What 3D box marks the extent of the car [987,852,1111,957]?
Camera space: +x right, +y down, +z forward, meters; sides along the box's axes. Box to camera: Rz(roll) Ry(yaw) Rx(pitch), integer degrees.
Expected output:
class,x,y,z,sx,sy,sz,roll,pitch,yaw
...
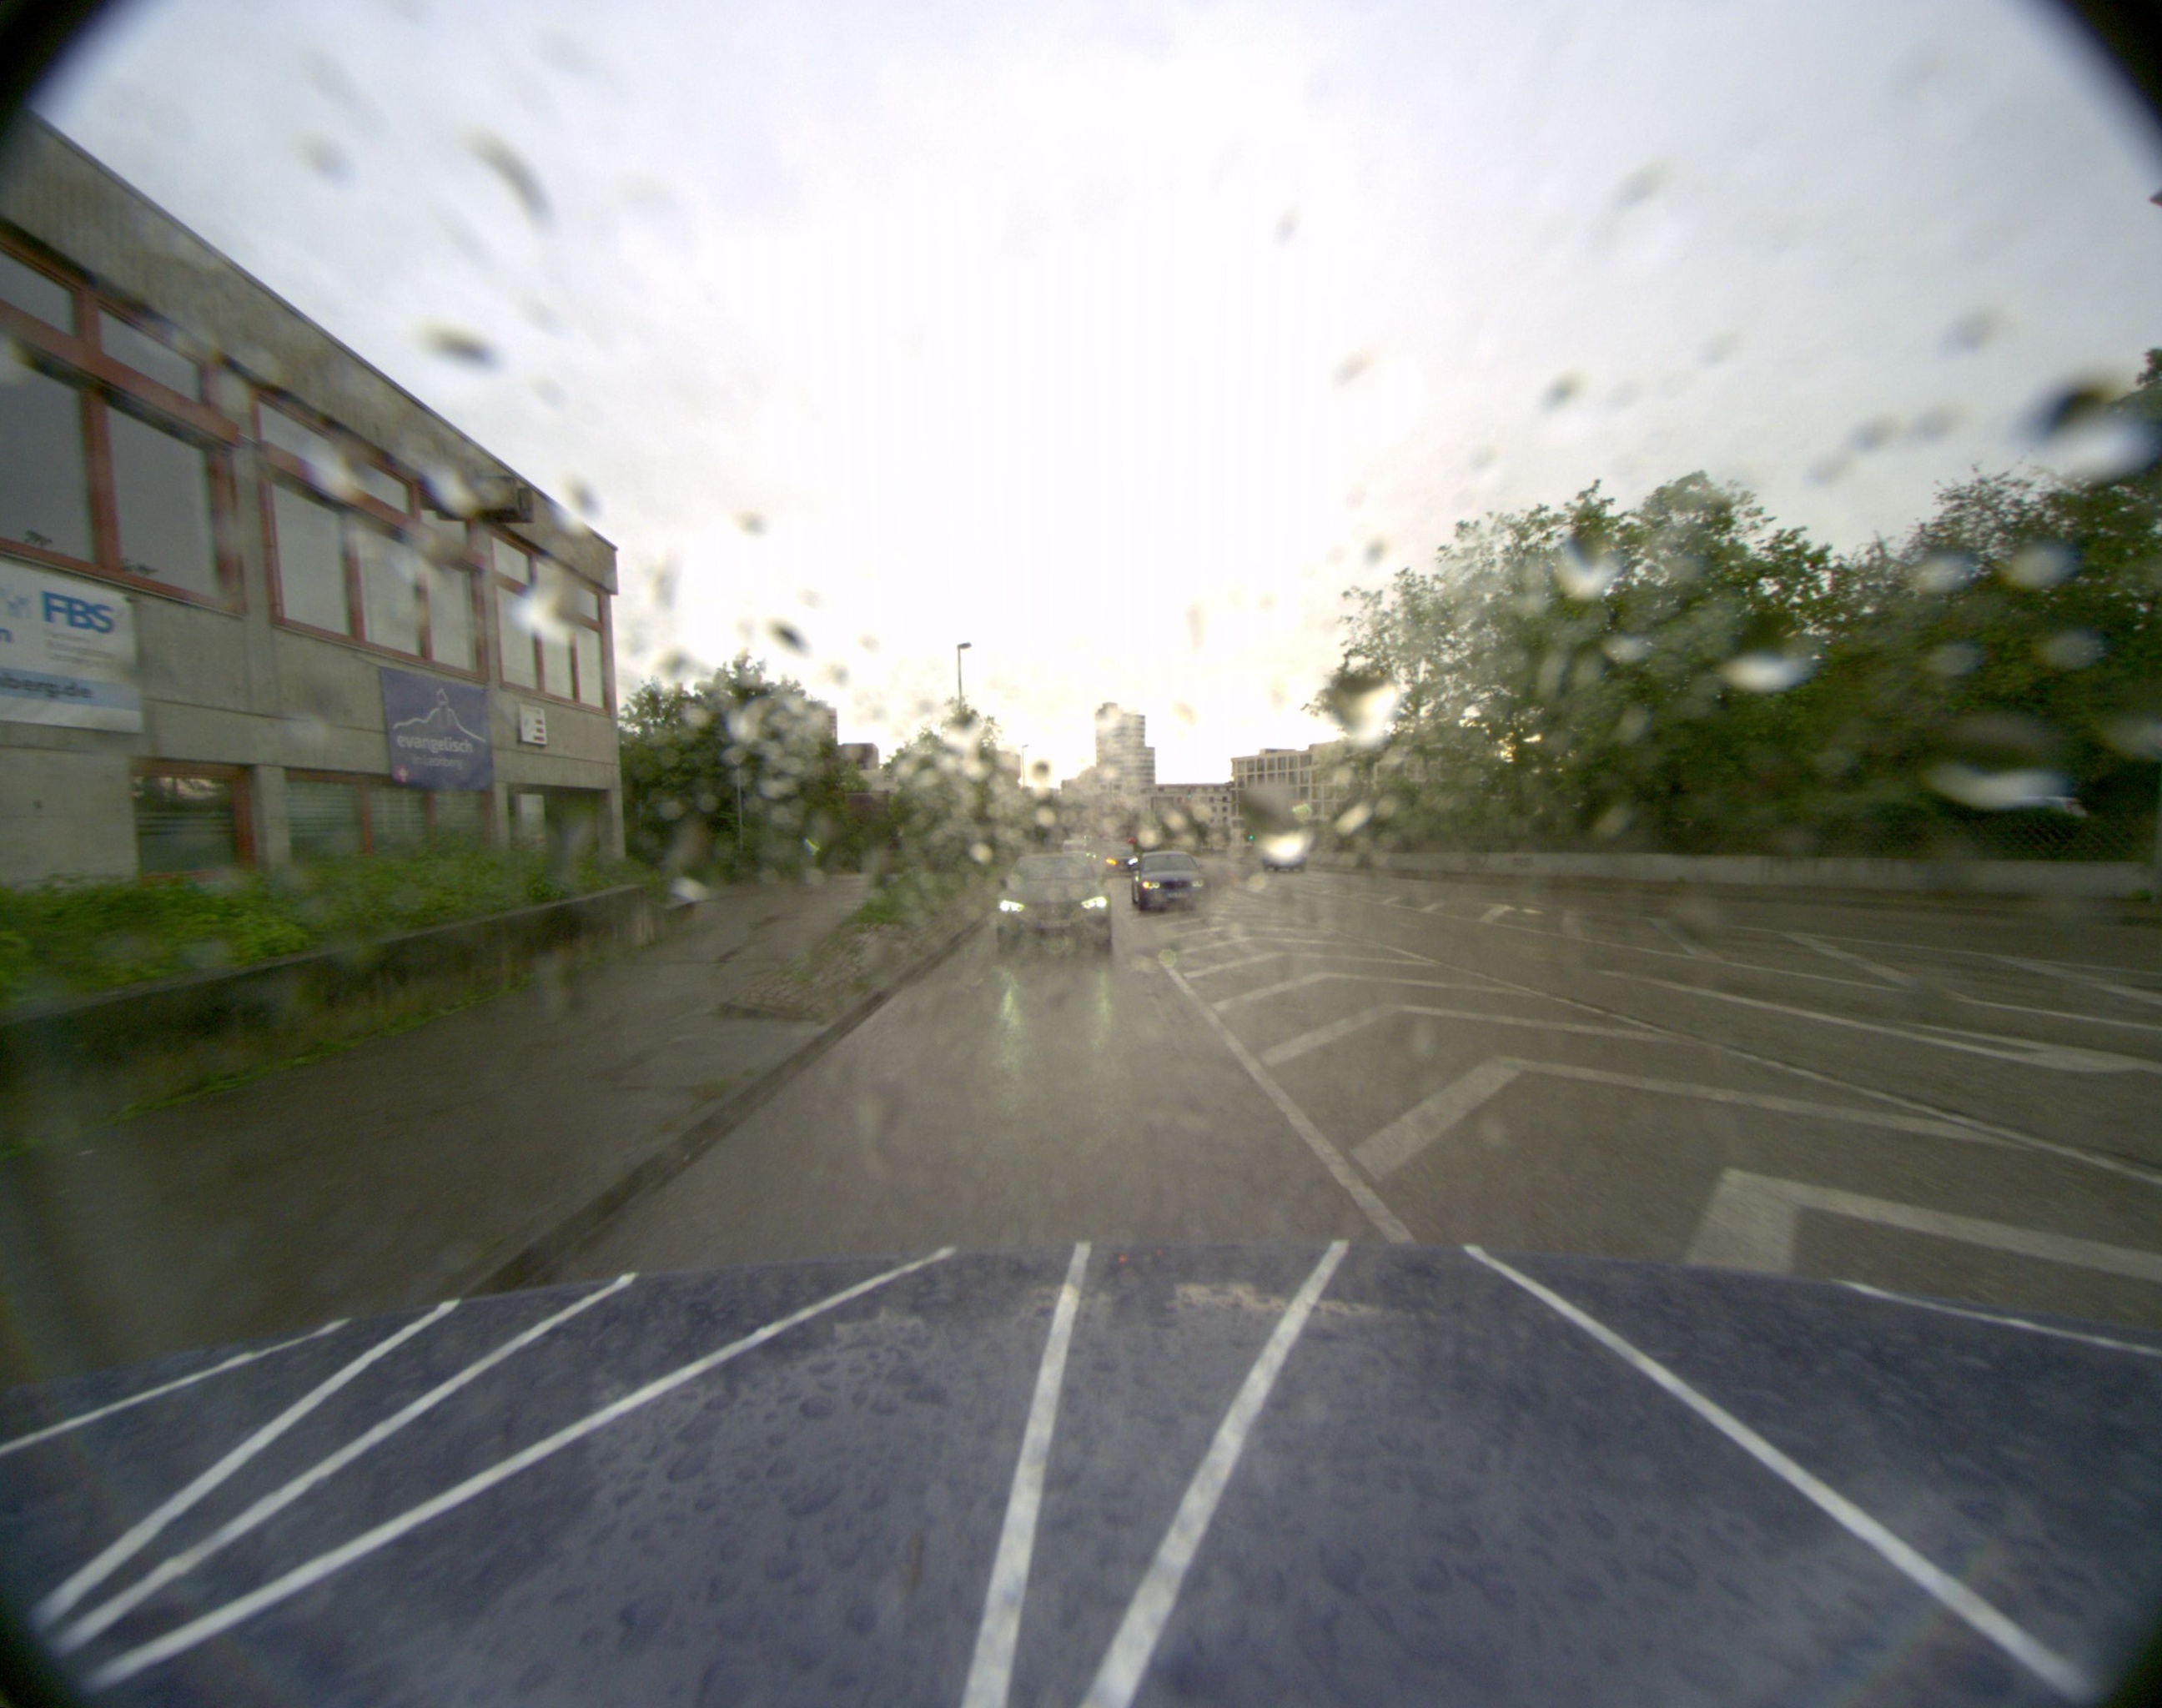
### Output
class,x,y,z,sx,sy,sz,roll,pitch,yaw
car,-0.420,0.770,14.044,1.838,1.505,4.848,-2,0,2

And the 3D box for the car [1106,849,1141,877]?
class,x,y,z,sx,sy,sz,roll,pitch,yaw
car,2.406,0.470,43.423,1.900,1.487,4.945,-1,0,3

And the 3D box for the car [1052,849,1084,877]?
class,x,y,z,sx,sy,sz,roll,pitch,yaw
car,-0.836,0.596,50.484,1.900,1.713,4.464,-1,0,1

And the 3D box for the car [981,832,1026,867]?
class,x,y,z,sx,sy,sz,roll,pitch,yaw
car,-4.421,-0.282,43.927,2.048,1.809,3.967,-2,1,2

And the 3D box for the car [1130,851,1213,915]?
class,x,y,z,sx,sy,sz,roll,pitch,yaw
car,2.277,0.682,20.258,1.790,1.339,4.944,-2,2,2

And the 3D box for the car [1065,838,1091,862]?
class,x,y,z,sx,sy,sz,roll,pitch,yaw
car,-0.271,-0.341,65.415,2.030,1.925,4.944,-1,0,-1

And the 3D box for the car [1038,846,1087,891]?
class,x,y,z,sx,sy,sz,roll,pitch,yaw
car,-0.872,0.581,34.296,1.901,1.650,4.942,-5,2,-2

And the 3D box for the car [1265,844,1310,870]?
class,x,y,z,sx,sy,sz,roll,pitch,yaw
car,12.534,0.151,46.368,1.818,1.506,4.000,-1,1,2

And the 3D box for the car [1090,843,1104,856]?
class,x,y,z,sx,sy,sz,roll,pitch,yaw
car,2.496,-0.715,122.292,2.030,1.925,4.944,-1,0,-1
